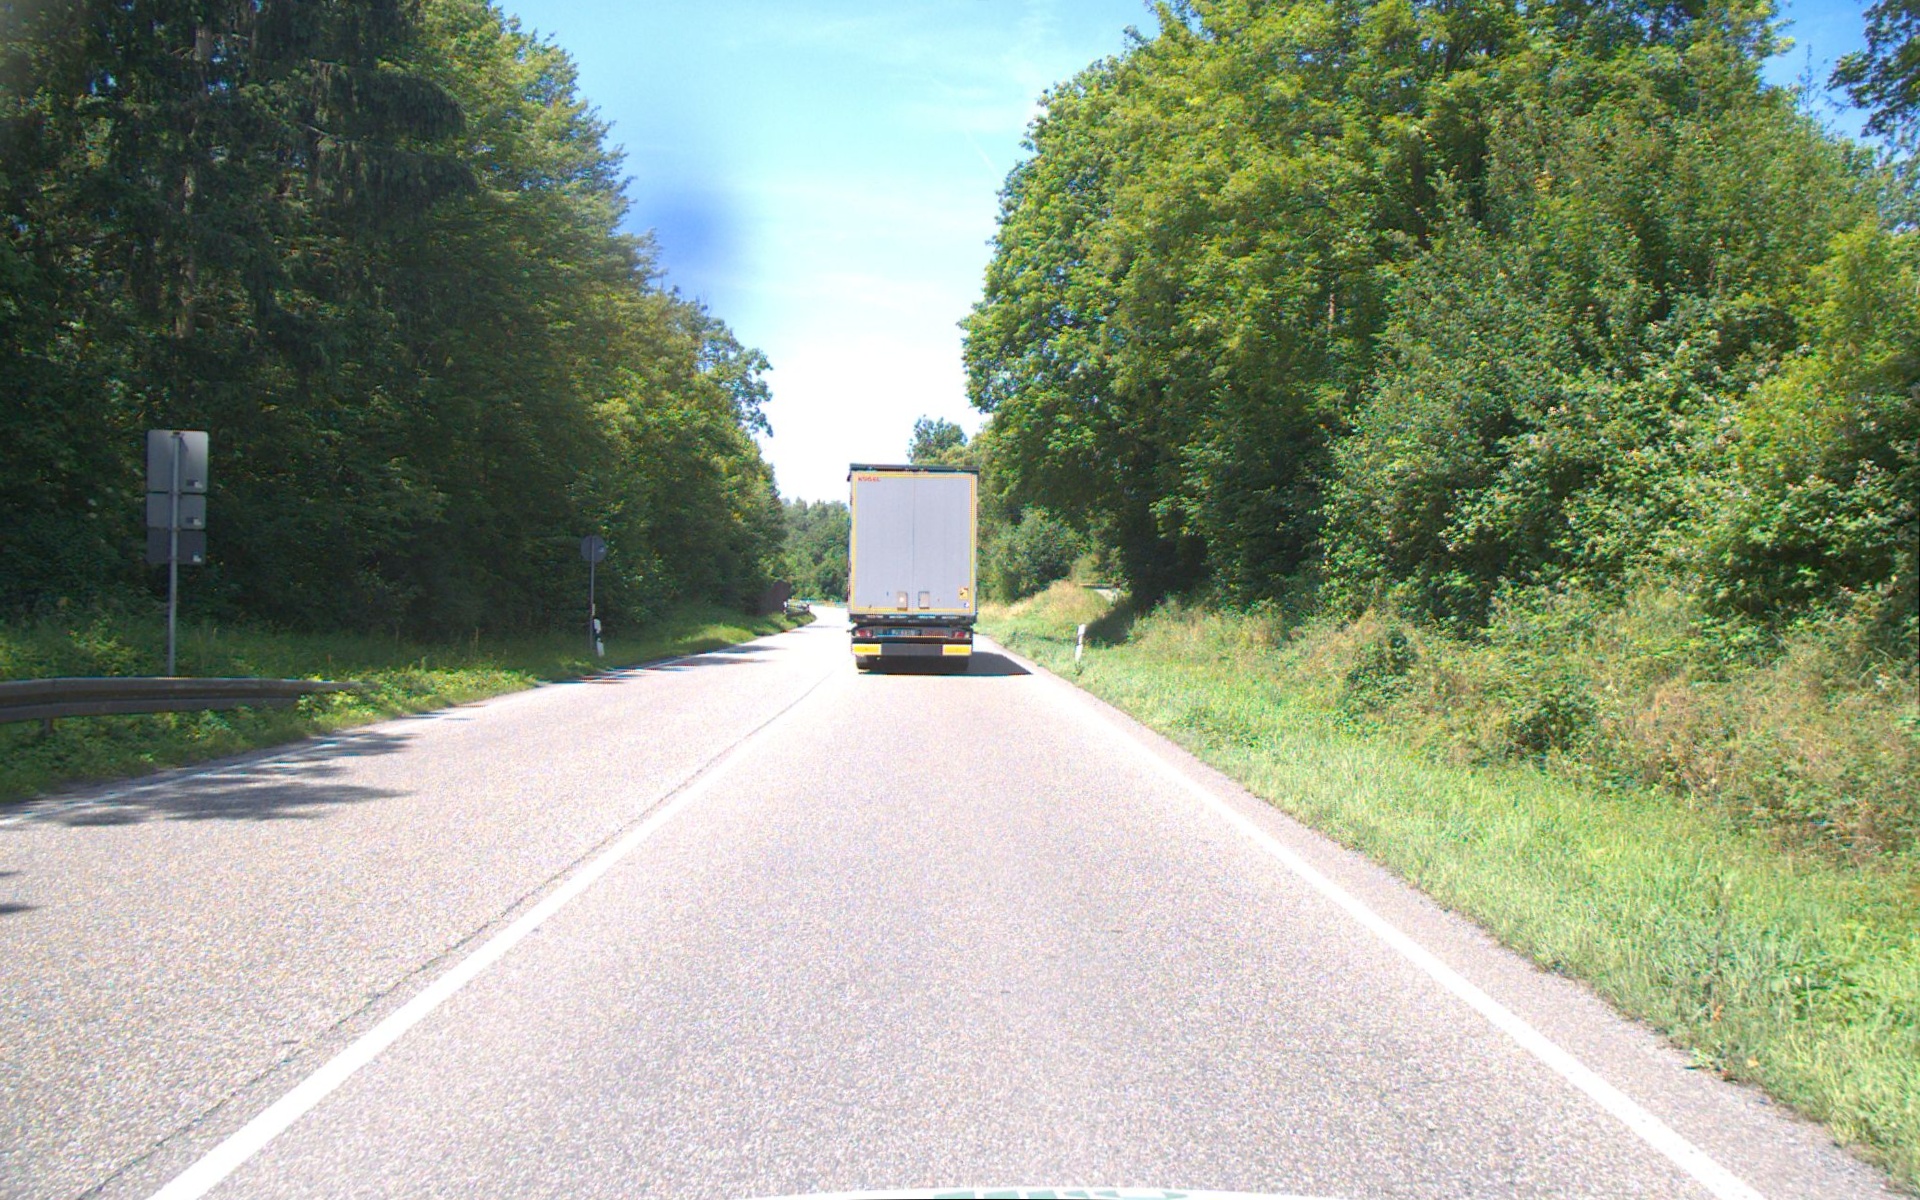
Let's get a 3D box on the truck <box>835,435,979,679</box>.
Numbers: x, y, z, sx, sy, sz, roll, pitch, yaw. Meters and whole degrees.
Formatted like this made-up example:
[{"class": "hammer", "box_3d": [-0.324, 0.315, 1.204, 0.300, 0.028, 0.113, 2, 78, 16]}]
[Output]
[{"class": "truck", "box_3d": [-1.011, -0.856, 35.267, 2.764, 4.684, 6.665, 0, 0, 0]}]
